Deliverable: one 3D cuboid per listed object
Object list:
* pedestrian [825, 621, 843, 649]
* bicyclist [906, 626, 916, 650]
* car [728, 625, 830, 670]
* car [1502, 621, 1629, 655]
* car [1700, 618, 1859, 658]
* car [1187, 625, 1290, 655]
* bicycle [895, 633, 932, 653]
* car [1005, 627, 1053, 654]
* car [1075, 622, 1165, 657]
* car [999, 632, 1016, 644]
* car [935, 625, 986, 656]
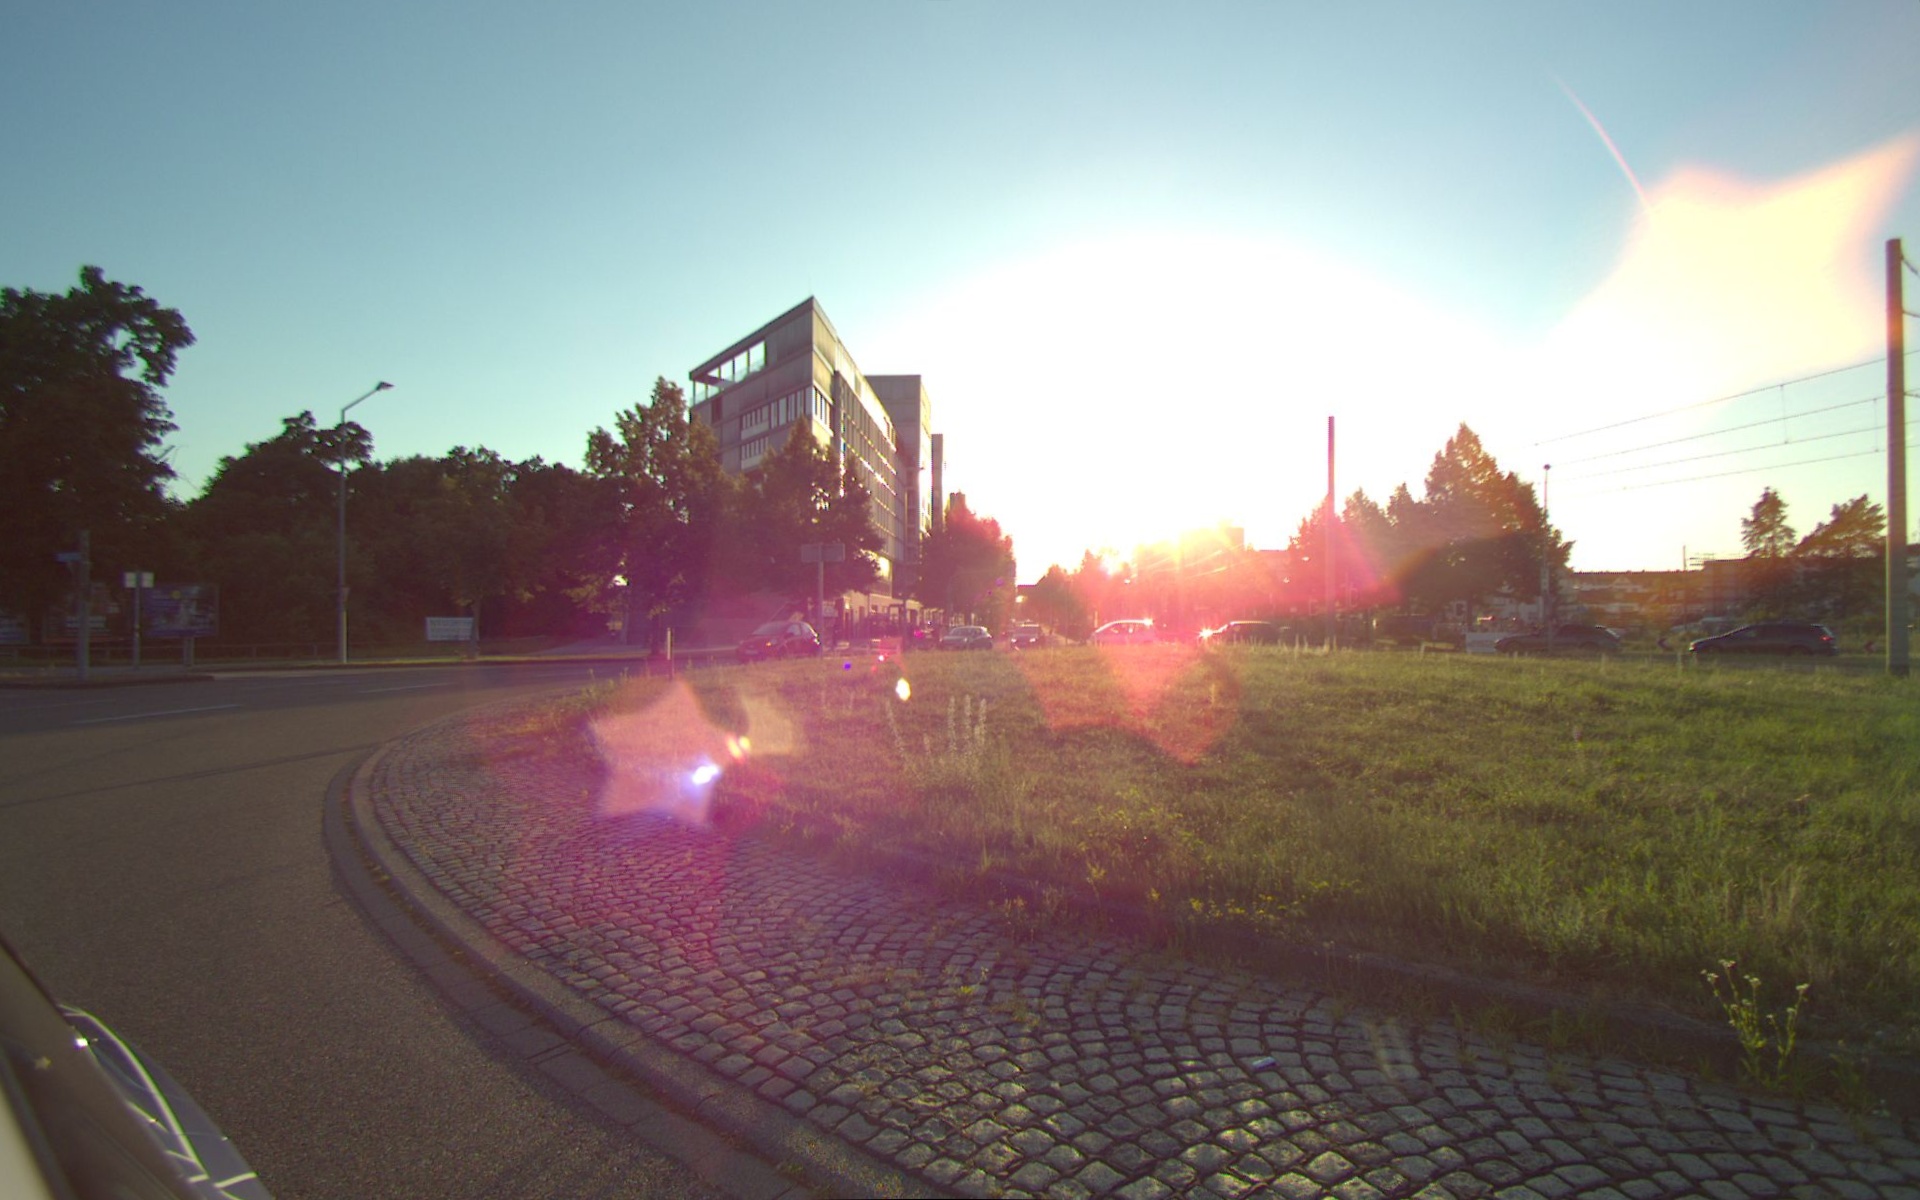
[{"bbox_3d":[-9.121,2.516,73.078,0.995,2.029,0.768,-1,0,29],"label":"pedestrian"},{"bbox_3d":[-3.070,2.350,62.984,0.602,1.451,0.692,0,-1,-2],"label":"bicyclist"},{"bbox_3d":[-6.177,1.602,34.950,1.677,1.431,3.972,-1,-1,20],"label":"car"},{"bbox_3d":[25.730,1.593,43.100,4.351,1.386,1.972,-1,-2,42],"label":"car"},{"bbox_3d":[30.632,1.381,37.914,1.969,1.386,4.389,1,-2,-42],"label":"car"},{"bbox_3d":[13.182,1.889,48.074,4.325,1.386,1.999,0,-1,2],"label":"car"},{"bbox_3d":[-2.889,2.674,62.962,2.315,1.254,0.742,0,-1,0],"label":"bicycle"},{"bbox_3d":[4.324,2.498,62.821,1.722,1.590,4.297,-1,-1,22],"label":"car"},{"bbox_3d":[7.505,1.834,47.684,3.833,1.592,1.957,0,-1,-5],"label":"car"},{"bbox_3d":[5.413,4.318,115.415,1.729,1.389,4.119,0,-2,5],"label":"car"},{"bbox_3d":[0.066,1.995,50.567,1.673,1.431,3.982,-1,-1,14],"label":"car"}]
